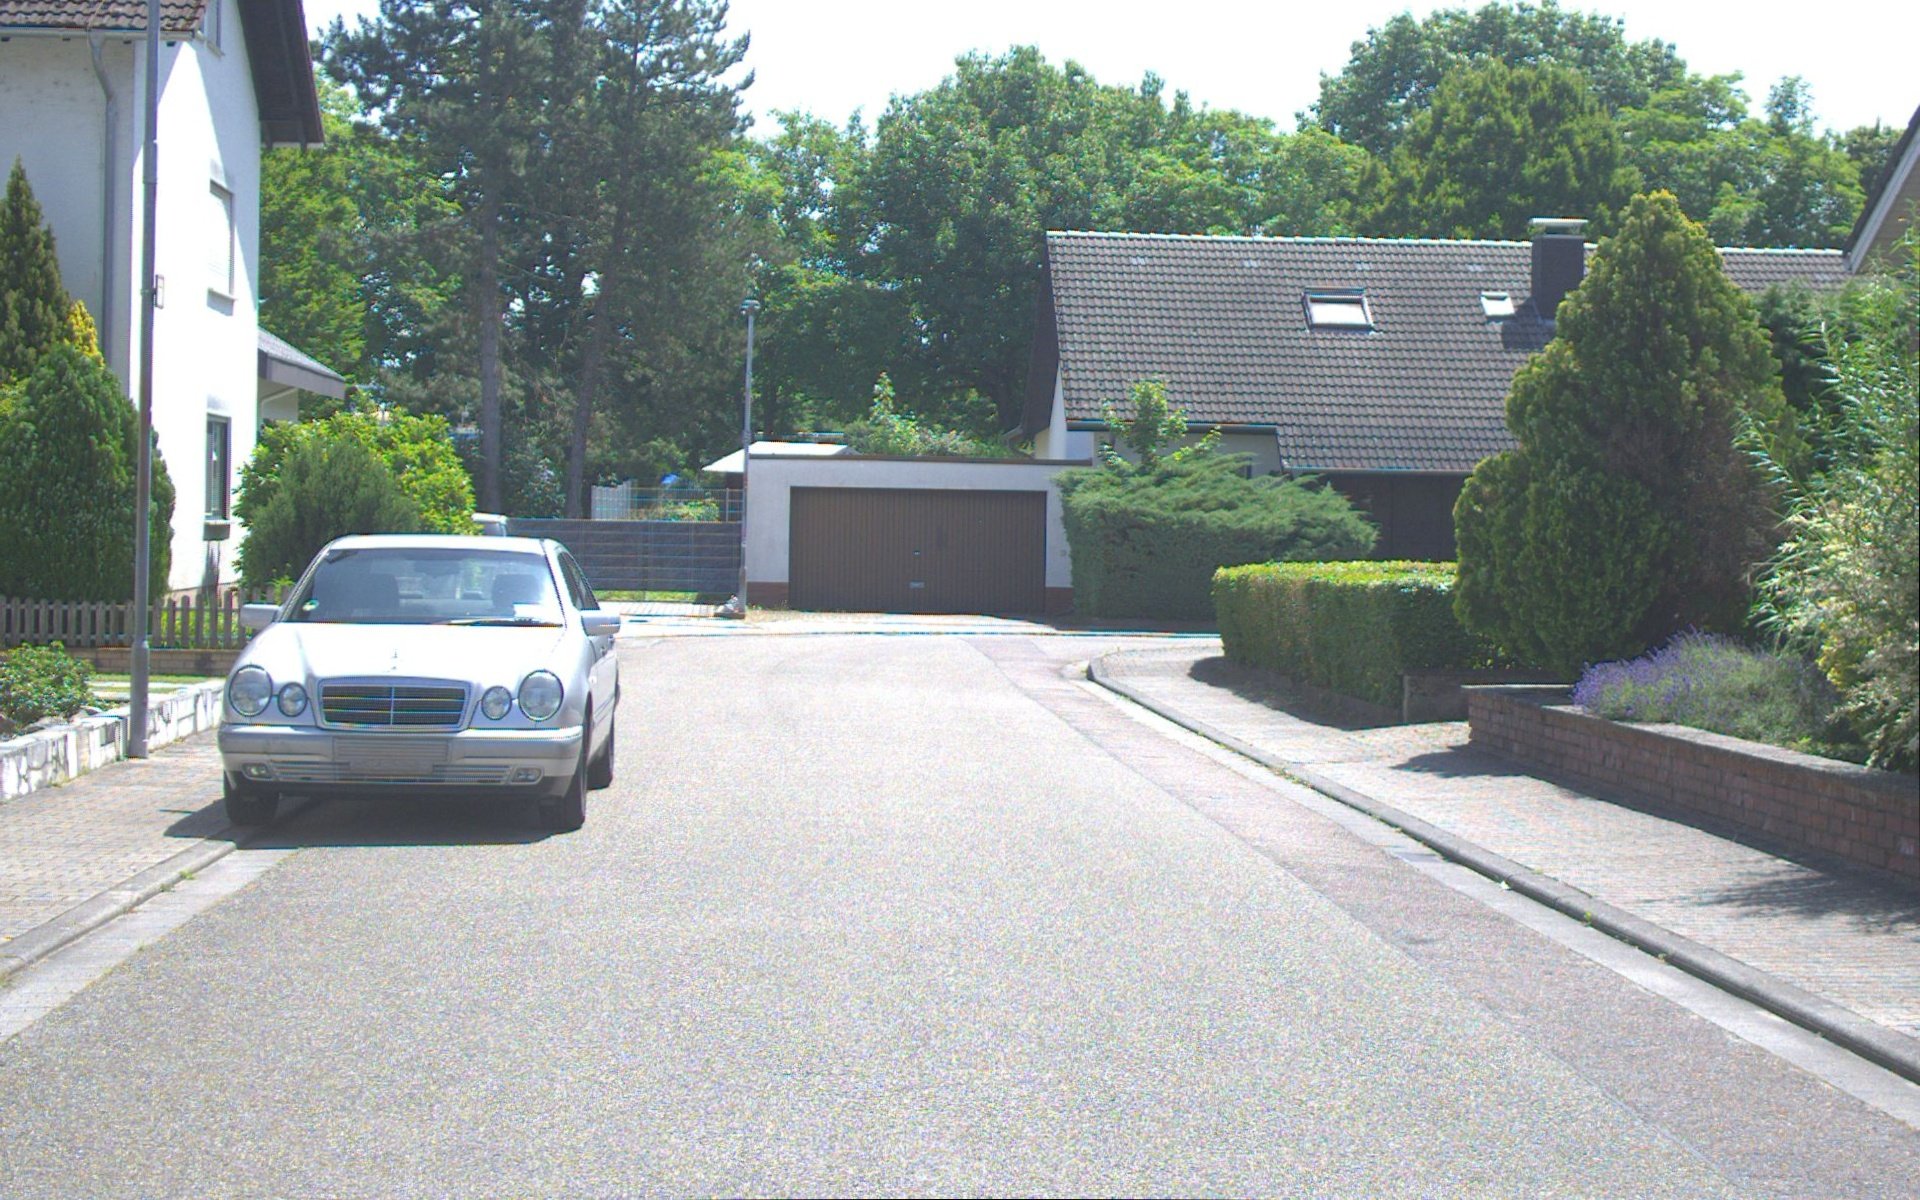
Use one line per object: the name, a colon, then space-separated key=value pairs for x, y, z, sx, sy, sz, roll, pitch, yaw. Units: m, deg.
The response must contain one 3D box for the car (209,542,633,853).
car: x=-2.729 y=0.420 z=18.266 sx=1.699 sy=1.388 sz=4.337 roll=1 pitch=1 yaw=-2
